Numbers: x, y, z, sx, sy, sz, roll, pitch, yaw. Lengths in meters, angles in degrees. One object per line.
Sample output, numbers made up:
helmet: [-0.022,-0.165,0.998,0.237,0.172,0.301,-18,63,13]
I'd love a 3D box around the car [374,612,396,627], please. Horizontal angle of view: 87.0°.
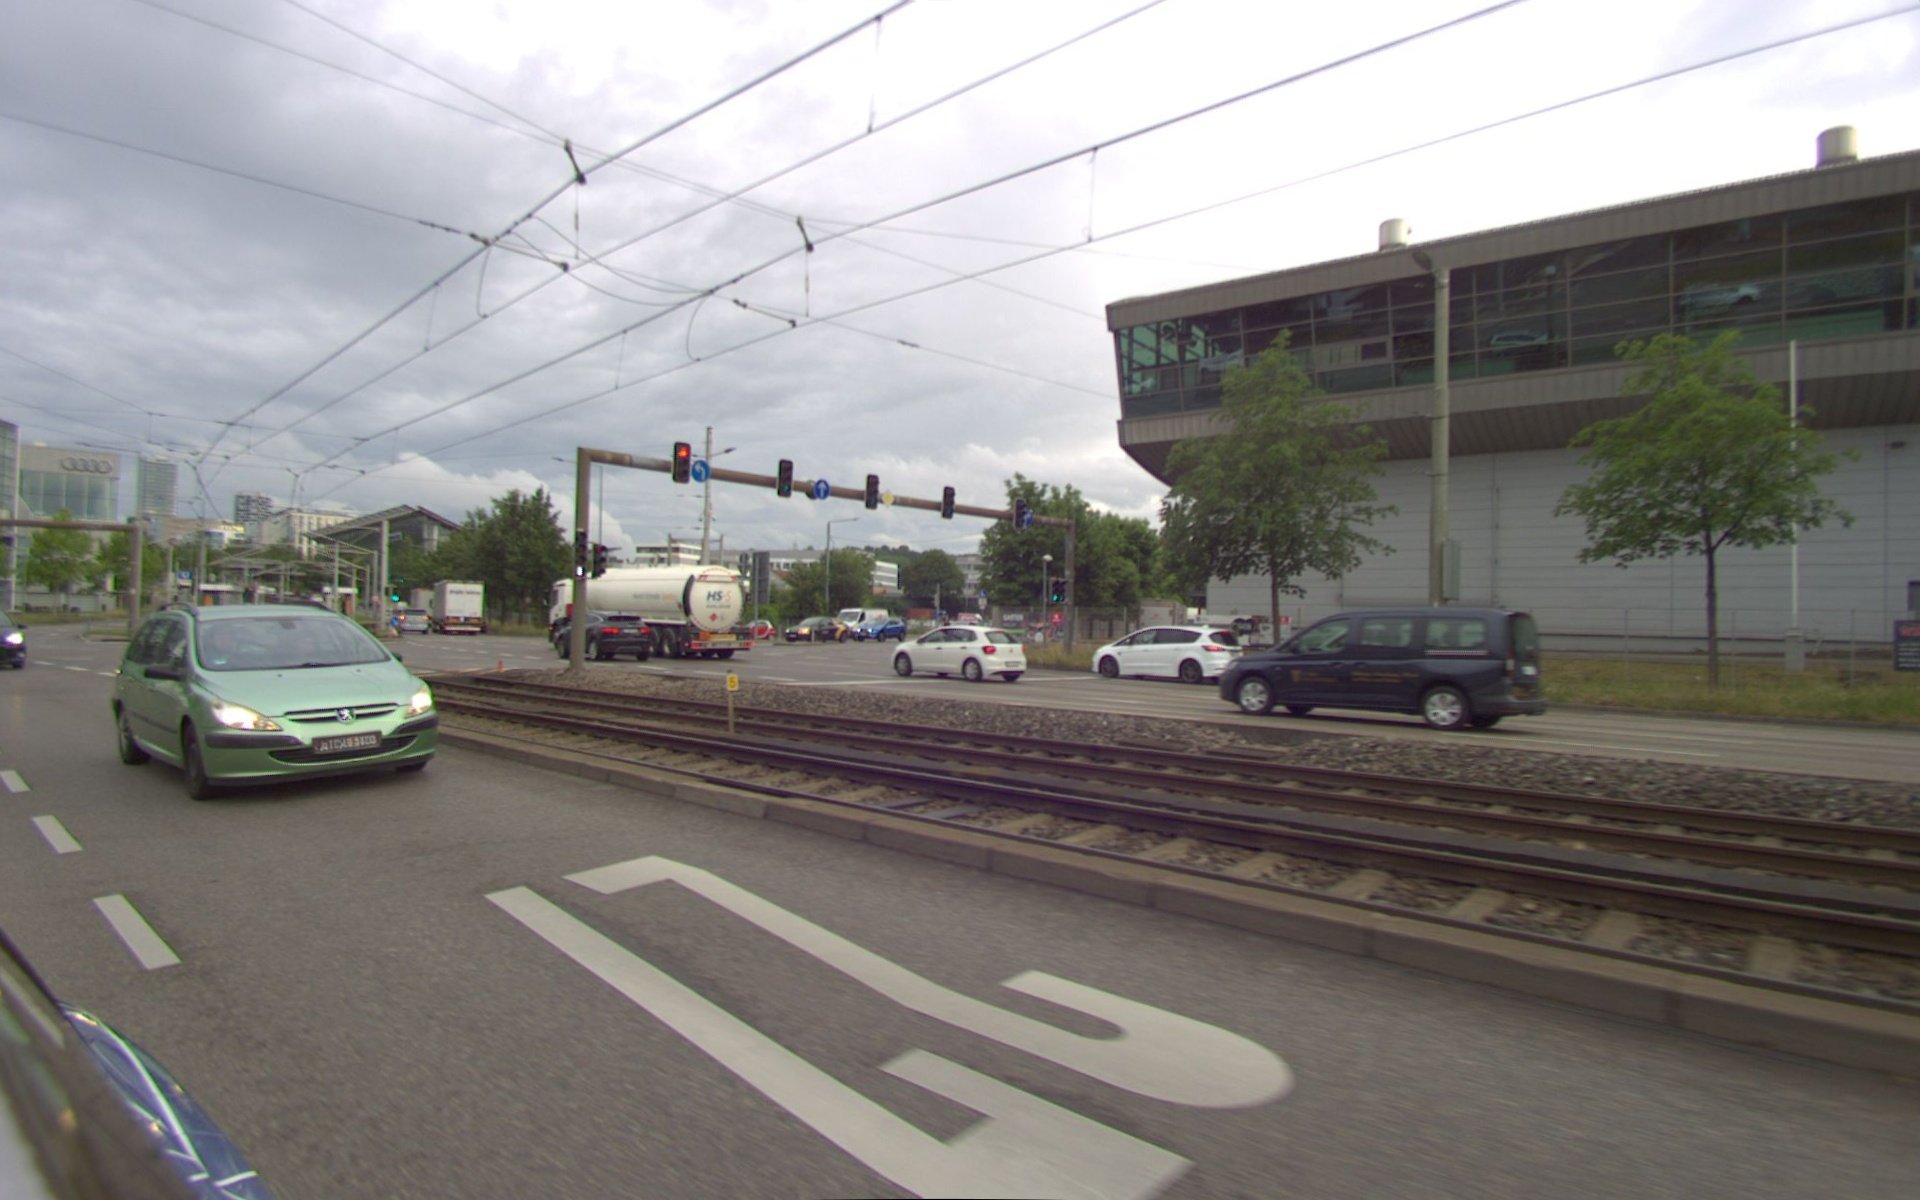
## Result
car: [-62.913,2.092,110.680,1.877,1.567,4.579,-1,0,-32]

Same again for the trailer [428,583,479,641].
trailer: [-39.873,0.920,79.397,2.613,4.156,12.784,2,-2,-30]

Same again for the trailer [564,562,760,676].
trailer: [-11.975,0.697,39.644,2.691,3.884,11.244,4,-3,-42]

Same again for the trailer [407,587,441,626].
trailer: [-61.215,0.849,115.748,2.755,4.139,11.479,2,-2,-25]

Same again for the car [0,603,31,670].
car: [-23.658,0.824,23.947,3.896,1.534,1.678,0,-2,36]

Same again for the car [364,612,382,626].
car: [-74.654,2.387,128.714,1.861,1.664,4.108,-1,0,-30]

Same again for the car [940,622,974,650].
car: [-0.233,2.295,65.689,1.970,1.621,4.648,-1,0,-3]

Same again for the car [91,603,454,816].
car: [-6.421,0.784,9.240,4.401,1.479,1.677,0,0,41]

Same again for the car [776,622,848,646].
car: [-8.850,2.066,60.894,1.999,1.412,3.946,-1,-3,40]

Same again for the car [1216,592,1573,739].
car: [6.563,0.932,15.742,1.780,1.942,4.806,3,-3,-45]

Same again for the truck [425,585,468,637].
truck: [-43.230,0.921,85.069,2.629,4.161,6.204,2,-1,-31]

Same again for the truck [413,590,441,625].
truck: [-64.715,0.940,122.857,2.792,4.026,6.005,2,-2,-29]

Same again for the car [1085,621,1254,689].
car: [6.130,1.573,29.994,1.780,1.833,4.735,3,-3,-45]

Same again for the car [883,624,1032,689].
car: [-0.119,1.449,26.942,3.991,1.522,1.546,0,-2,43]

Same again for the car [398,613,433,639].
car: [-40.881,1.996,75.919,1.966,1.851,4.922,1,-3,-31]

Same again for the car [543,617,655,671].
car: [-12.283,1.445,34.312,4.198,1.665,1.901,0,-1,44]

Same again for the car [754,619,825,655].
car: [-12.034,2.594,71.531,2.285,2.301,4.687,0,0,36]

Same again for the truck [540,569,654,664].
truck: [-15.864,0.728,44.060,2.712,3.834,5.419,4,-3,-41]
